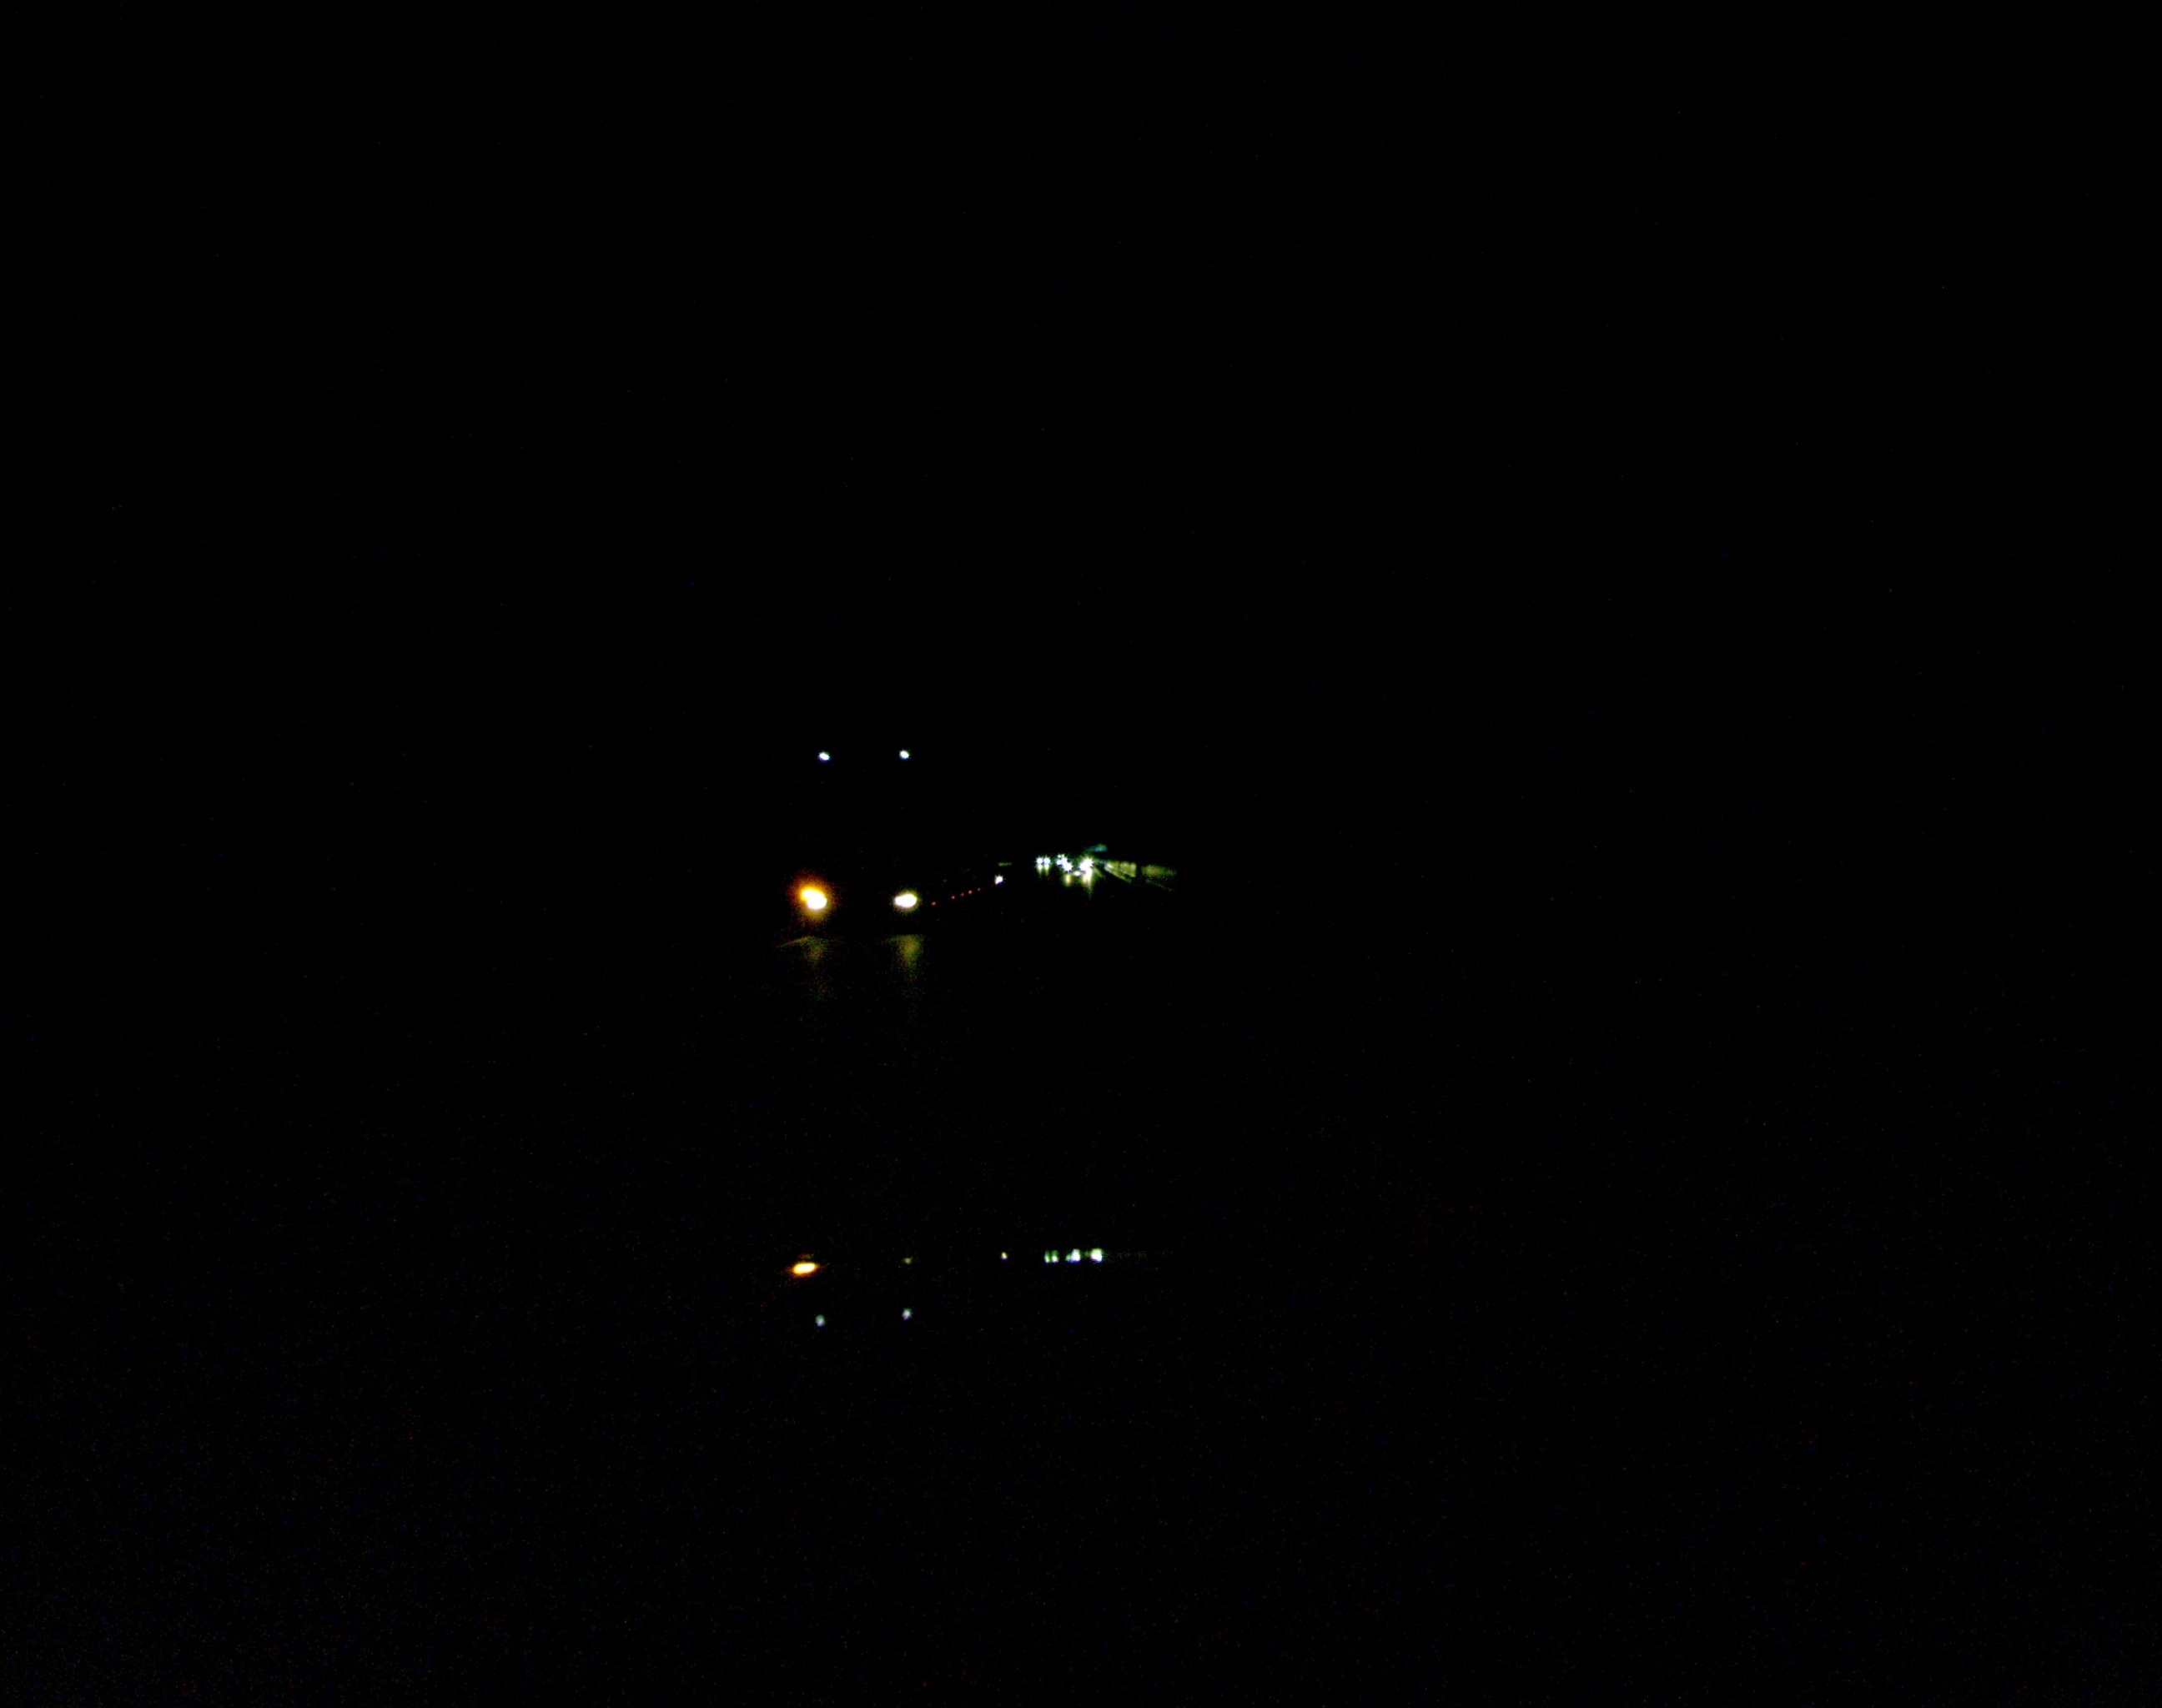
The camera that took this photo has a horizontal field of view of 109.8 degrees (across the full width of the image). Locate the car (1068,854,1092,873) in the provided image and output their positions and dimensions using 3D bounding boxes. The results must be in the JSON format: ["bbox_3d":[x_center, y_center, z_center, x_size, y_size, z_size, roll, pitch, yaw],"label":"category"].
[{"bbox_3d":[-0.139,0.861,65.420,1.840,1.392,5.069,-6,-1,-2],"label":"car"}]

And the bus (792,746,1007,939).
[{"bbox_3d":[-4.543,-0.296,23.376,2.659,3.971,14.700,-2,1,1],"label":"bus"}]

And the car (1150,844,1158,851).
[{"bbox_3d":[21.860,-1.954,227.479,1.999,1.914,3.999,-2,0,-1],"label":"car"}]

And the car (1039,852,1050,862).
[{"bbox_3d":[-7.304,0.630,154.130,1.999,1.707,5.168,-6,-1,-2],"label":"car"}]

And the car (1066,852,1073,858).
[{"bbox_3d":[-3.134,0.303,210.904,1.939,1.608,4.000,-6,-1,-1],"label":"car"}]
